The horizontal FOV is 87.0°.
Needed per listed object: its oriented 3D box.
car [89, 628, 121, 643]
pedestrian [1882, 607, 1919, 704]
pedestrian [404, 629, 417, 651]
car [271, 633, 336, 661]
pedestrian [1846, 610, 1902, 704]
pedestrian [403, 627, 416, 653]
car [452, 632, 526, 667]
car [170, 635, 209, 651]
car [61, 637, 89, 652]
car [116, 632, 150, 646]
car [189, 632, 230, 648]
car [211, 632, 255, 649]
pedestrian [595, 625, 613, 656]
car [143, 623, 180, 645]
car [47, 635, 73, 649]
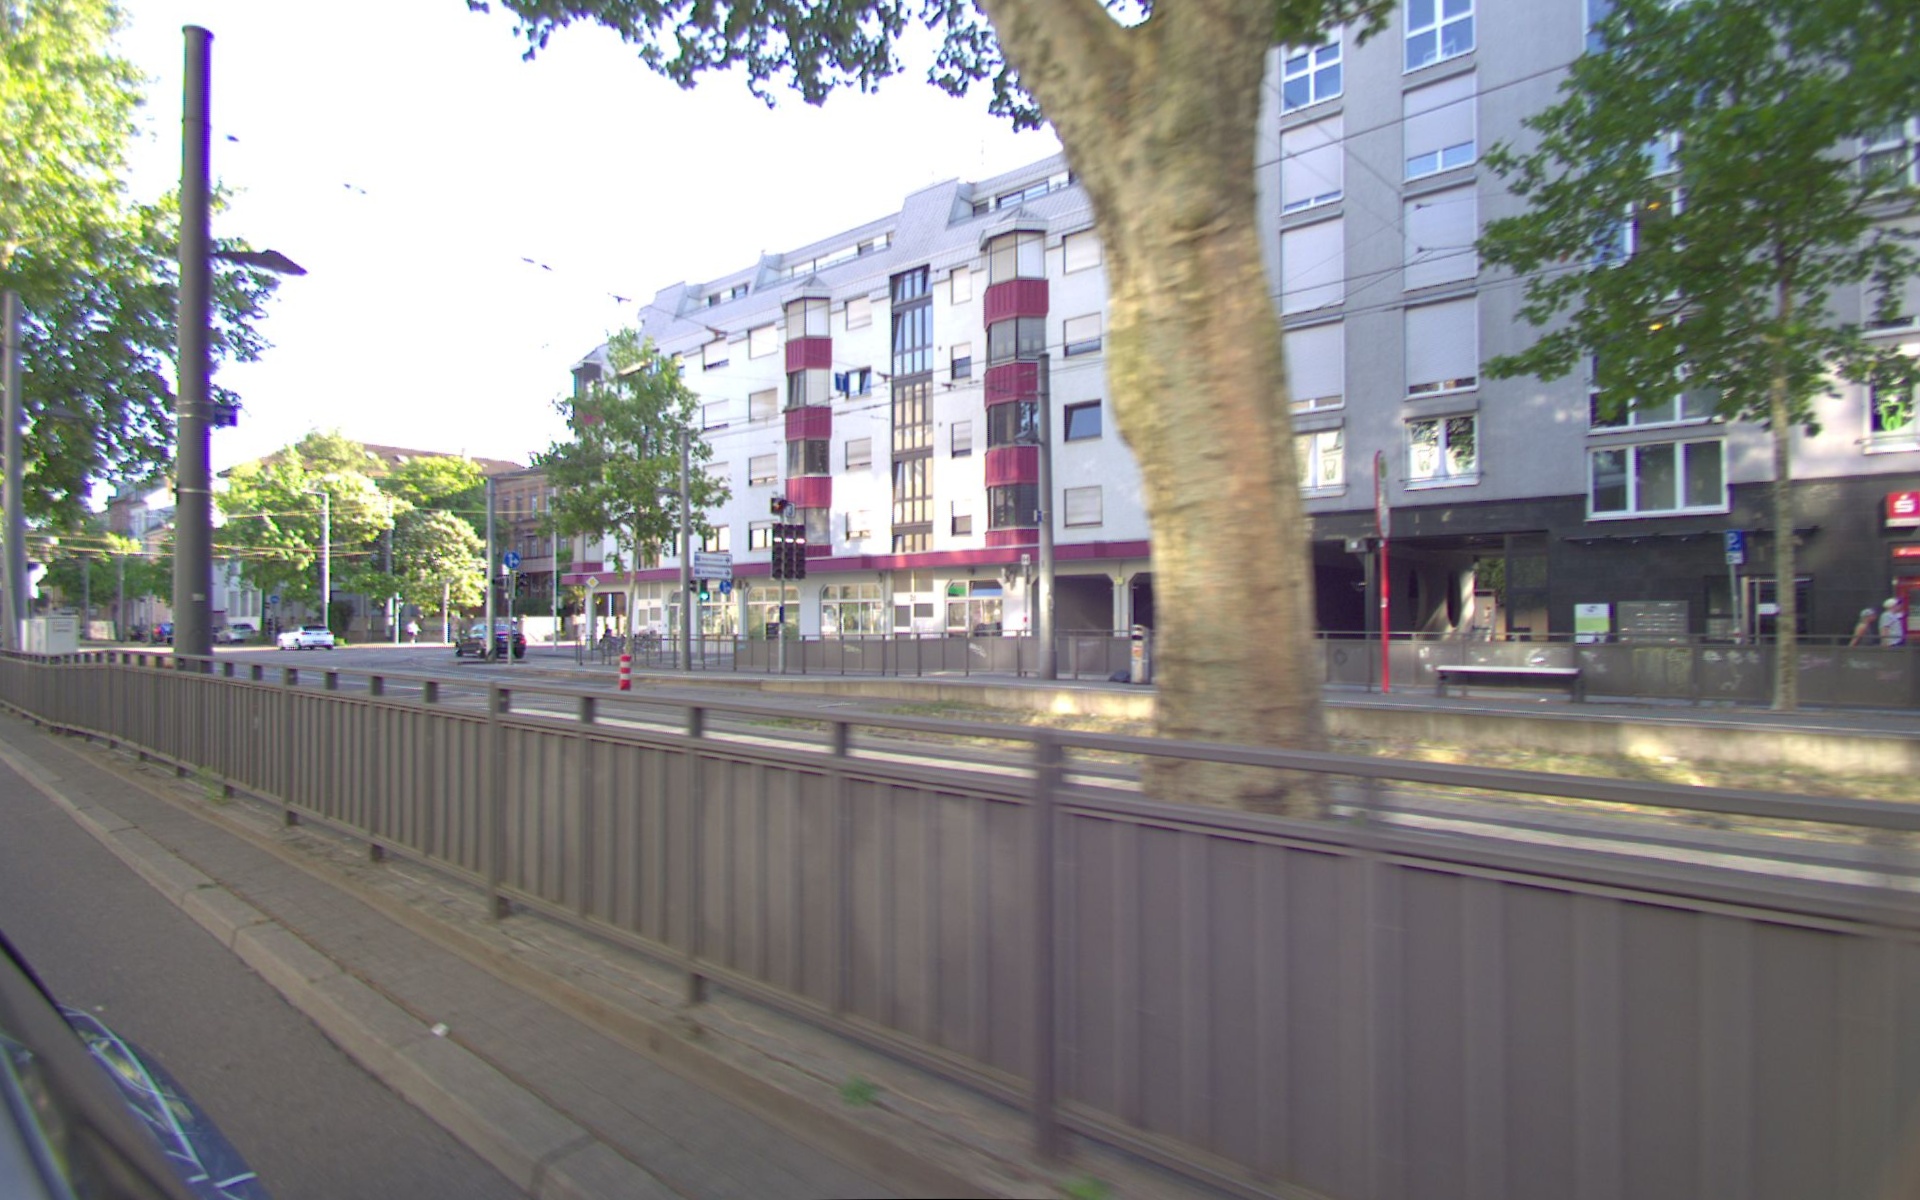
[{"bbox_3d":[-87.398,3.631,103.419,3.998,1.490,1.871,-2,-2,41],"label":"car"},{"bbox_3d":[17.709,1.031,18.938,0.628,1.784,0.496,-1,0,41],"label":"pedestrian"},{"bbox_3d":[-37.409,2.709,68.875,0.582,1.518,0.649,0,-2,-8],"label":"pedestrian"},{"bbox_3d":[-36.044,2.544,55.540,3.998,1.475,1.973,-2,-2,41],"label":"car"},{"bbox_3d":[17.812,1.088,19.733,0.784,1.784,0.496,-1,0,41],"label":"pedestrian"},{"bbox_3d":[-37.440,2.714,68.841,0.594,1.717,0.670,-1,0,-10],"label":"pedestrian"},{"bbox_3d":[-19.864,2.056,42.650,1.626,1.364,3.903,1,-2,-44],"label":"car"},{"bbox_3d":[-65.091,3.586,85.449,3.998,1.276,1.871,-2,-2,41],"label":"car"},{"bbox_3d":[-100.830,5.063,115.347,3.998,1.573,1.871,-2,-2,41],"label":"car"},{"bbox_3d":[-78.219,3.658,95.719,3.998,1.276,1.871,-2,-2,41],"label":"car"},{"bbox_3d":[-60.616,3.229,81.693,3.998,1.276,1.871,-2,-2,41],"label":"car"},{"bbox_3d":[-55.589,3.078,77.350,3.998,1.276,1.871,-2,-2,41],"label":"car"},{"bbox_3d":[-19.005,2.161,53.973,0.658,1.635,0.801,-1,0,-40],"label":"pedestrian"},{"bbox_3d":[-69.959,2.979,88.636,3.911,1.851,1.838,-1,0,41],"label":"car"},{"bbox_3d":[-109.427,5.091,123.018,3.998,1.573,1.871,-2,-2,41],"label":"car"}]
